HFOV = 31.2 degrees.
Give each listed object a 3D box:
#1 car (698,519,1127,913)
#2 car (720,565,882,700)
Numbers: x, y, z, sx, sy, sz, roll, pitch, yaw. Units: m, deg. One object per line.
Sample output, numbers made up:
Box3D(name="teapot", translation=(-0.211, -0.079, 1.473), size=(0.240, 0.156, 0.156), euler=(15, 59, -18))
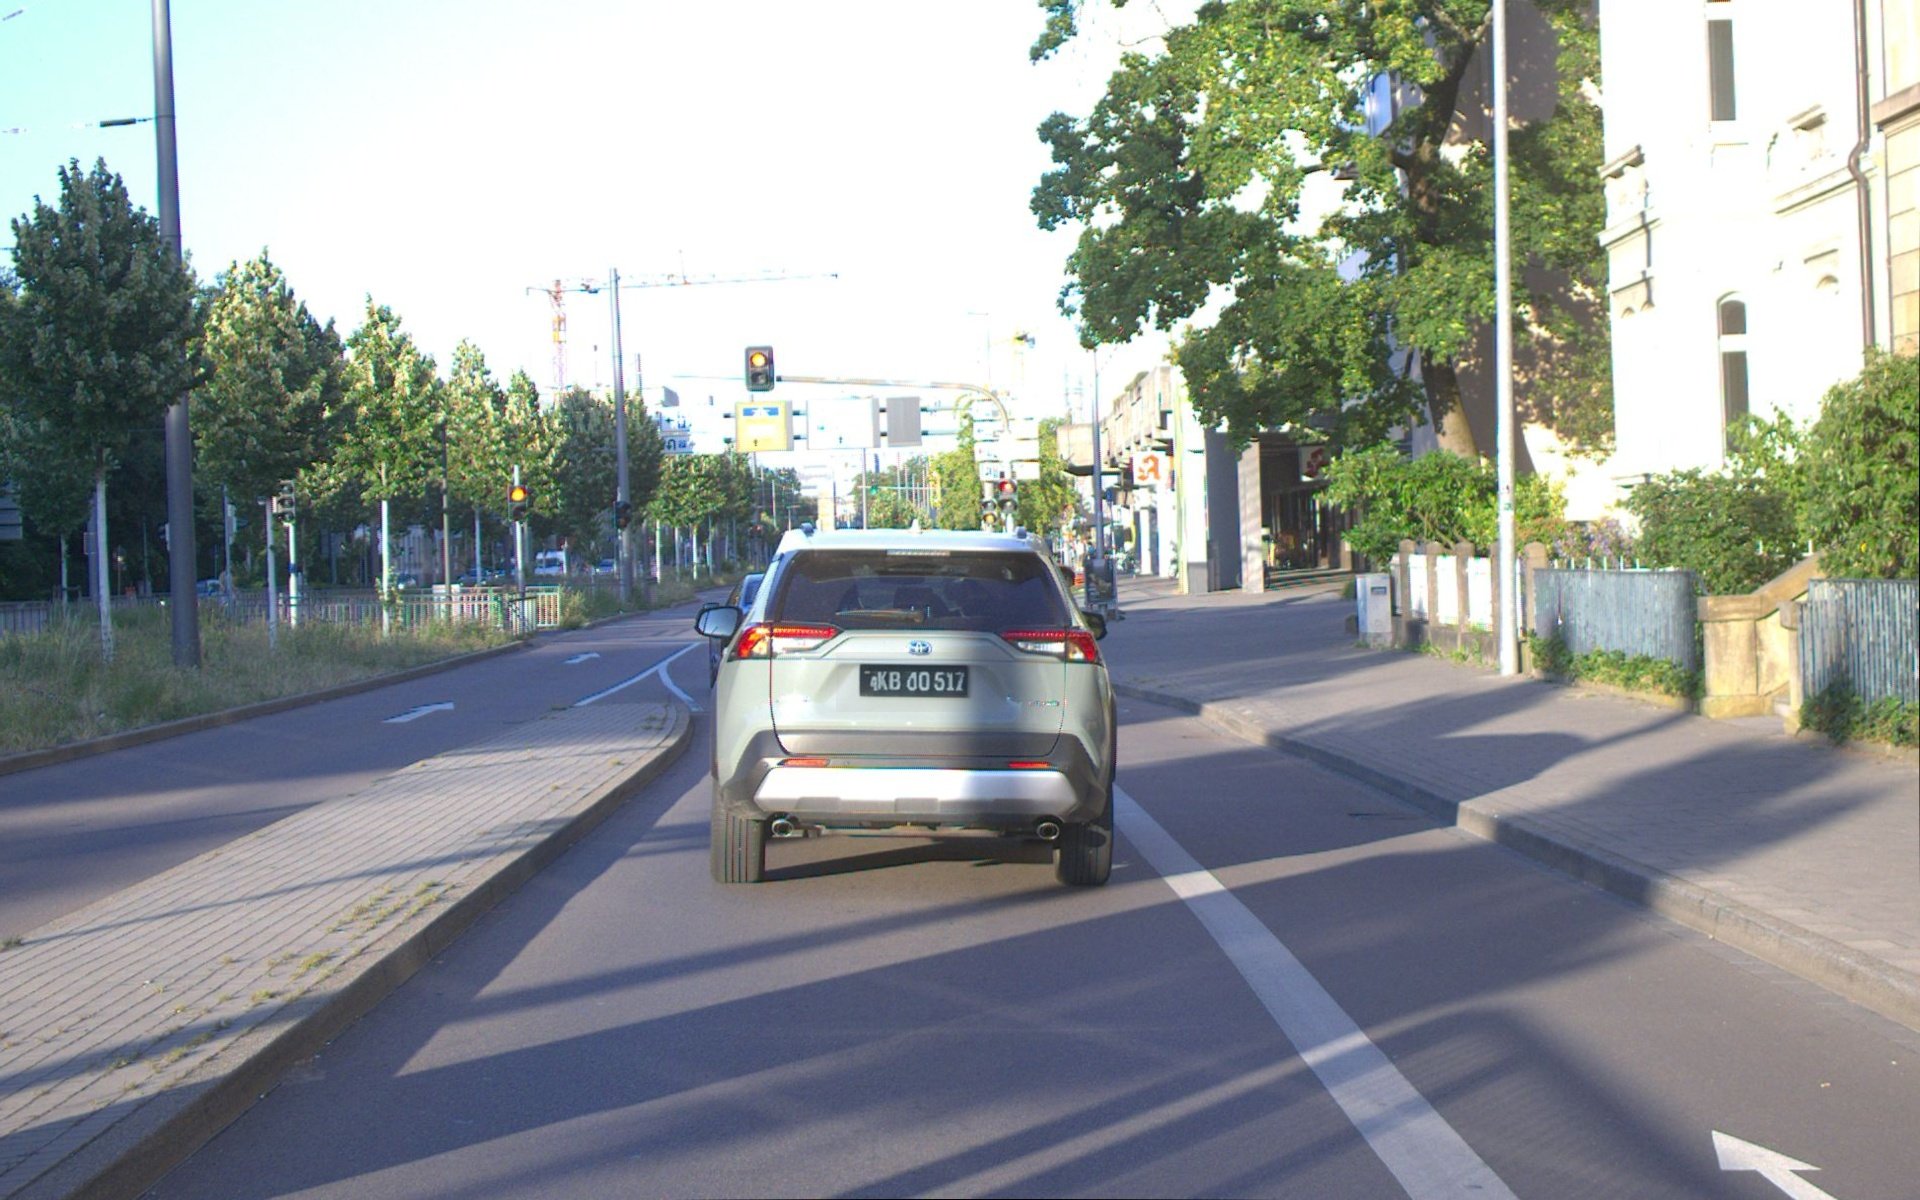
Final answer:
Box3D(name="car", translation=(-0.290, 0.477, 17.034), size=(1.857, 1.708, 4.193), euler=(0, 1, -2))
Box3D(name="car", translation=(-1.910, 0.355, 41.653), size=(1.857, 1.546, 4.110), euler=(0, 1, -2))
